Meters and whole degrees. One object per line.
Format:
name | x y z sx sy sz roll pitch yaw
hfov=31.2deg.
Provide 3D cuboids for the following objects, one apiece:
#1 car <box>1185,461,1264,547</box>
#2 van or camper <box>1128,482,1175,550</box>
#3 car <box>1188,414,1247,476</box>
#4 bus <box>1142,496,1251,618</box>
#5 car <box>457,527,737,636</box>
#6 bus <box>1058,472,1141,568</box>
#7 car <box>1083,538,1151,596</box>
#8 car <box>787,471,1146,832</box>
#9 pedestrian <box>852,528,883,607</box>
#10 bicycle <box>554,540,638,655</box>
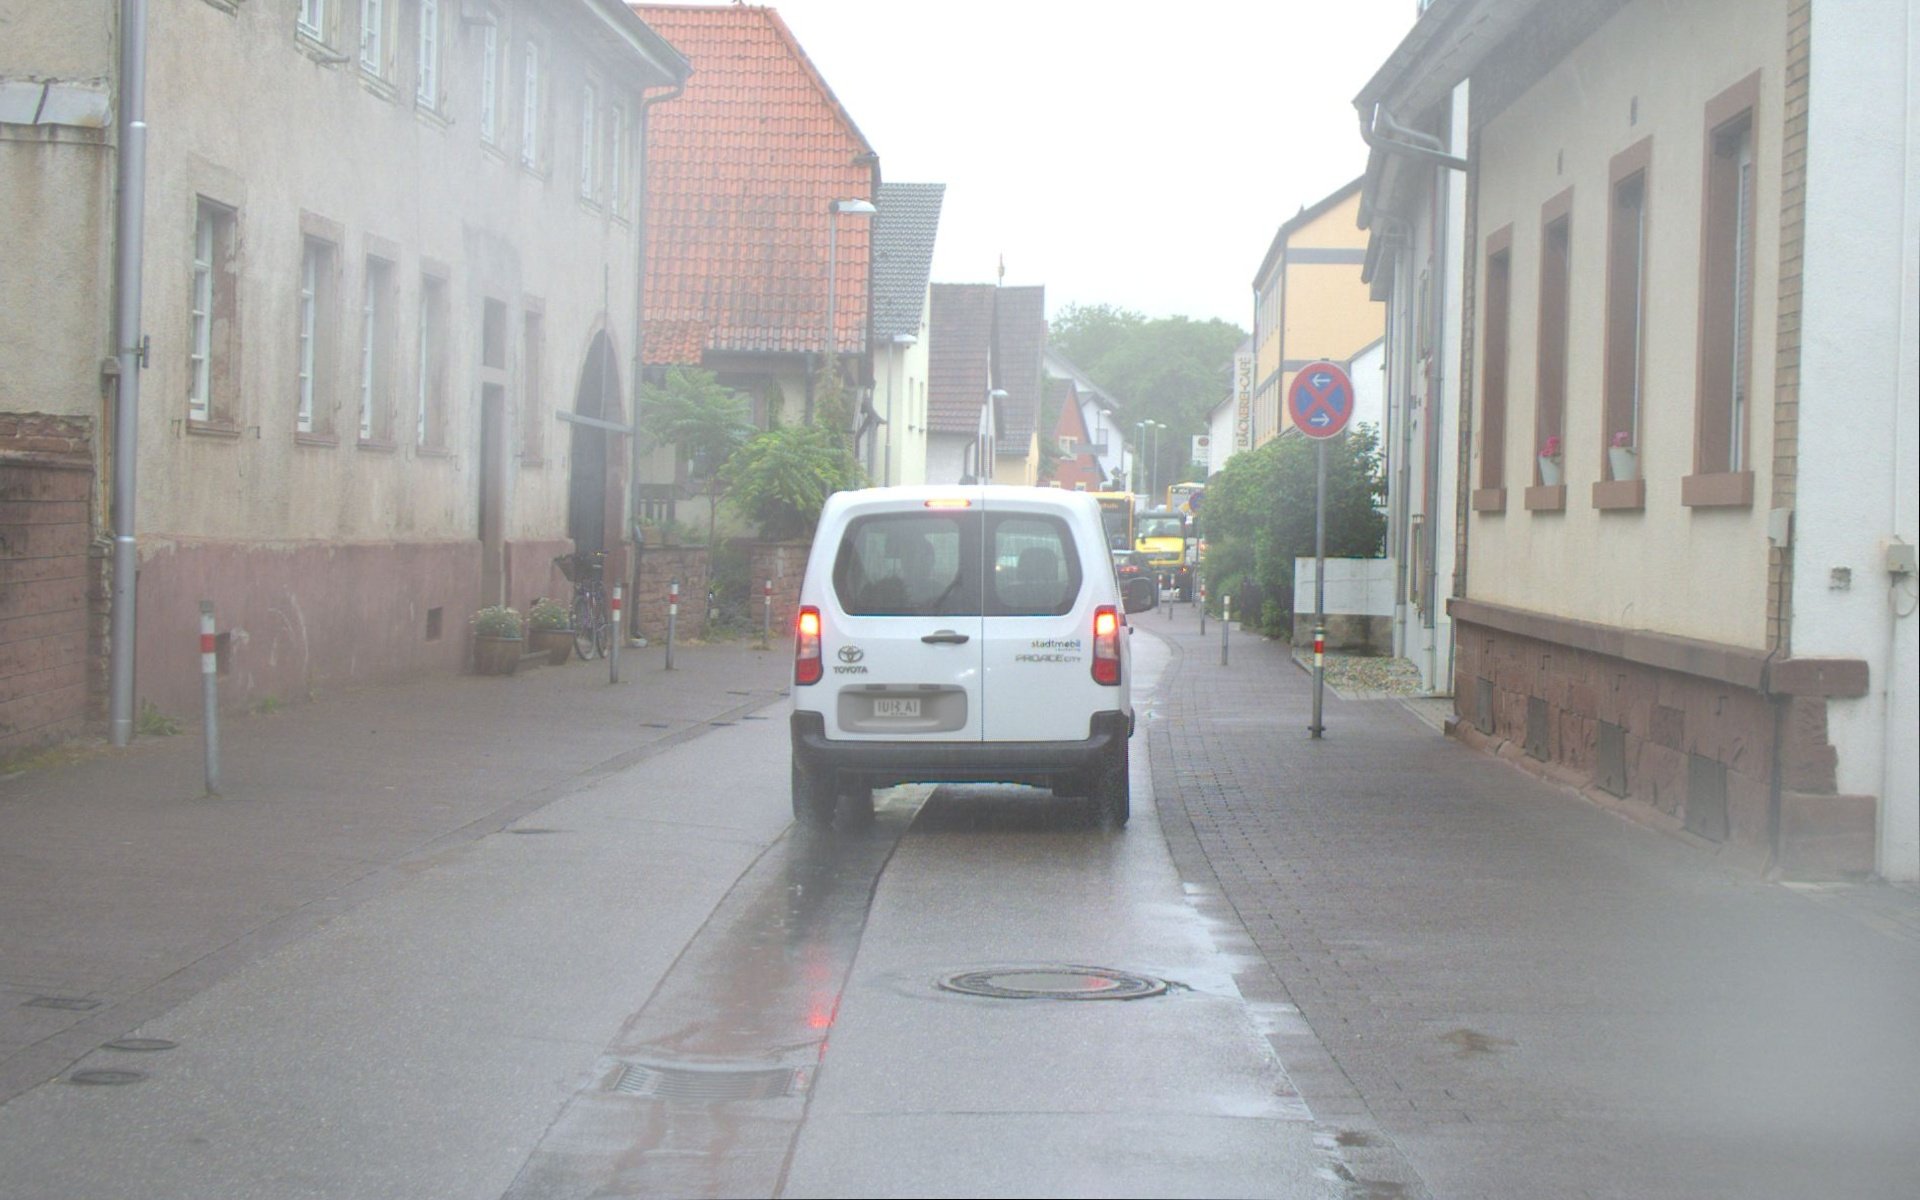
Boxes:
car | 6.653 -2.391 86.714 1.827 2.007 3.693 3 0 3
van or camper | 8.694 -3.793 156.035 1.835 2.915 5.362 3 0 5
car | 9.417 -5.654 125.509 1.994 2.007 3.999 3 0 5
bus | 6.711 -1.196 98.191 2.794 3.169 8.177 4 0 3
car | -4.948 -0.263 47.111 3.528 1.371 1.594 2 1 6
bus | 5.305 -2.947 129.686 2.794 3.317 8.177 3 0 3
car | 4.002 -0.818 87.228 1.562 1.367 3.584 3 0 4
car | 0.139 0.245 19.329 1.795 1.812 4.101 0 0 3
pedestrian | -1.798 -0.625 66.814 0.567 1.525 0.569 0 1 -6
bicycle | -3.864 -0.032 36.642 0.483 1.176 1.835 3 0 5
